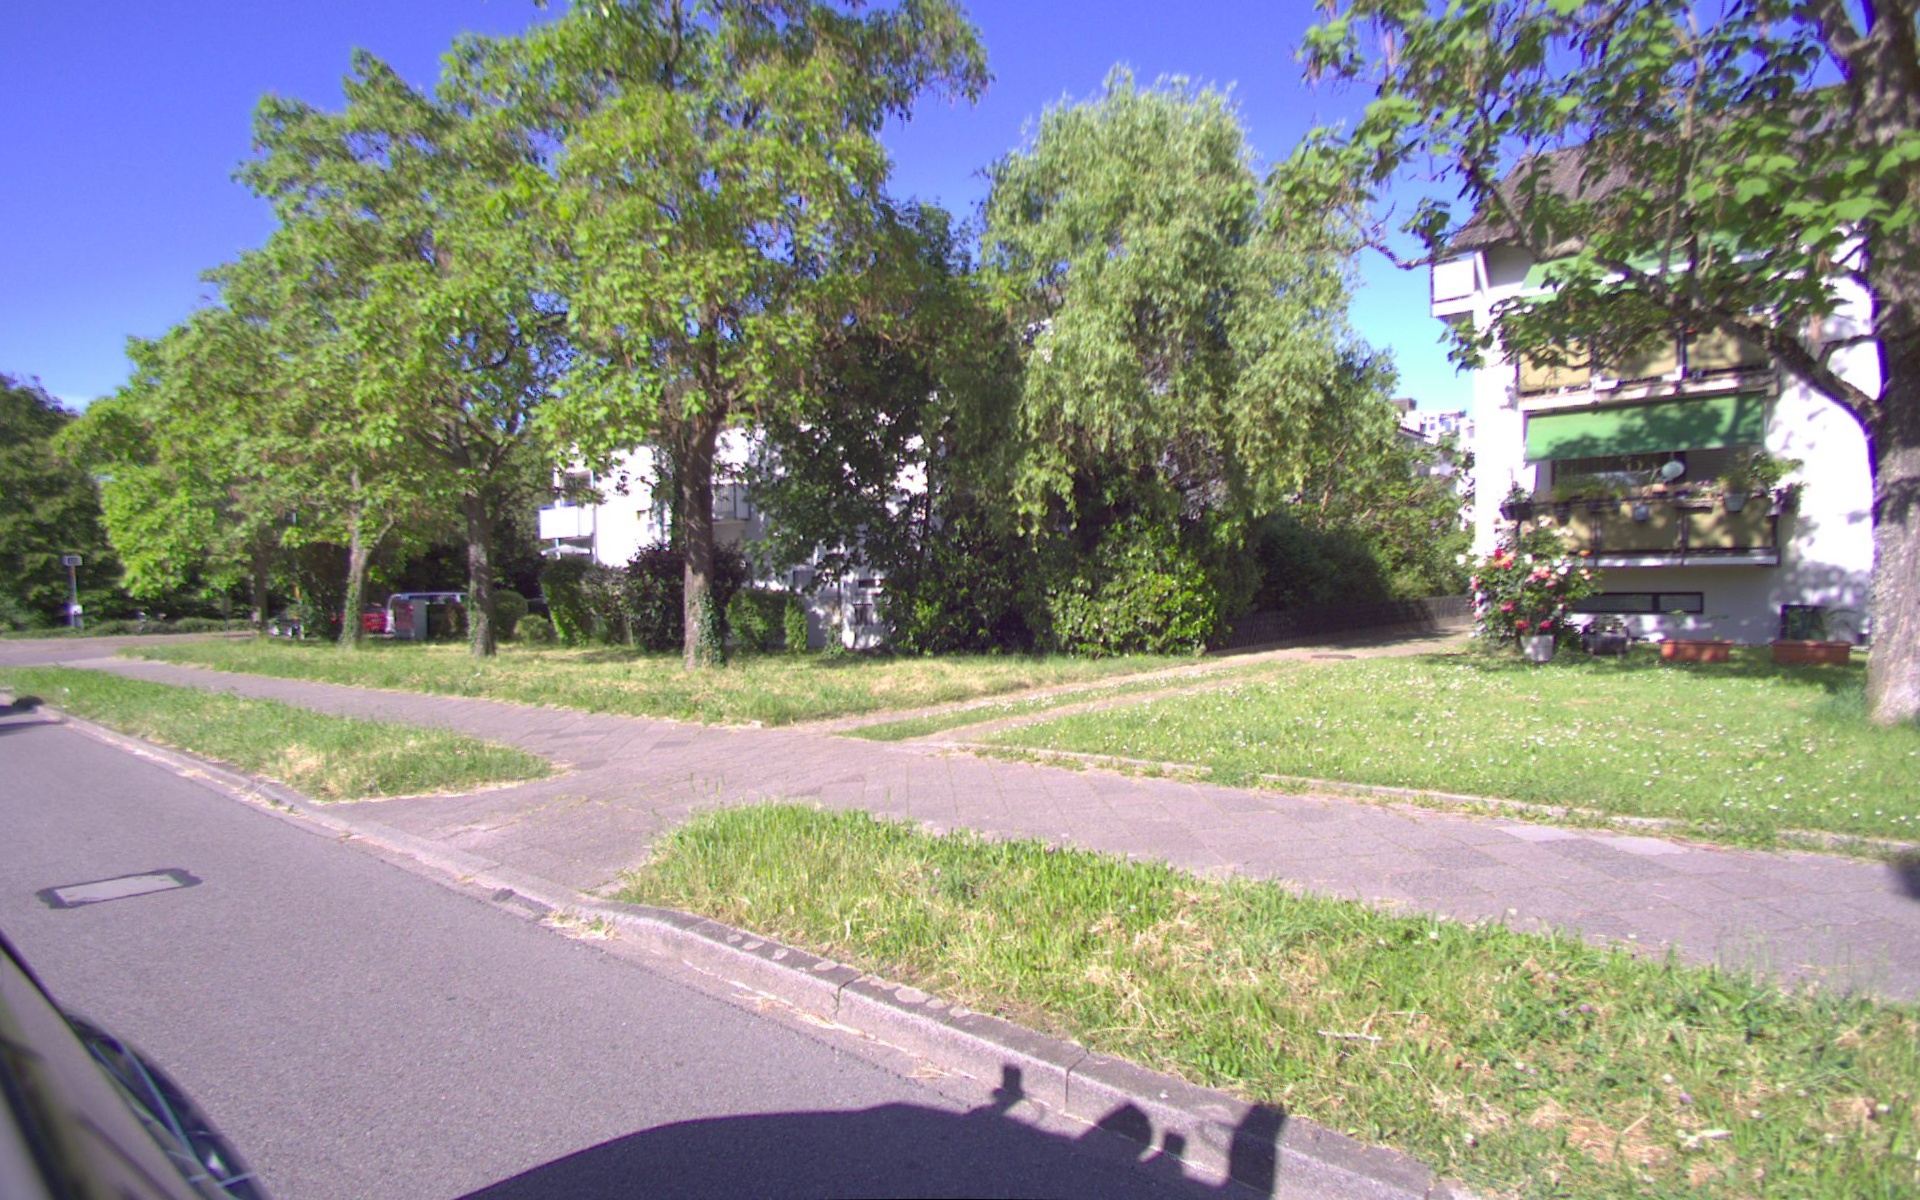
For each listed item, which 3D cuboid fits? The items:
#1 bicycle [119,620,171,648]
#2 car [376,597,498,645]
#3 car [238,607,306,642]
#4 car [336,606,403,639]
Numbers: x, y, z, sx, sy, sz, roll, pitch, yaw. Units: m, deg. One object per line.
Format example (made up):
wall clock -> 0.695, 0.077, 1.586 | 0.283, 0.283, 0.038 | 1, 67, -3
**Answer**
bicycle -> -38.666, 1.599, 48.040 | 1.875, 1.160, 0.762 | -1, 4, -39
car -> -23.229, 0.901, 45.059 | 2.069, 1.984, 4.402 | -2, -1, 43
car -> -32.453, 1.171, 47.705 | 3.882, 1.498, 1.653 | -3, -1, 40
car -> -29.599, 1.157, 50.713 | 3.882, 1.498, 1.653 | -3, -1, 40
